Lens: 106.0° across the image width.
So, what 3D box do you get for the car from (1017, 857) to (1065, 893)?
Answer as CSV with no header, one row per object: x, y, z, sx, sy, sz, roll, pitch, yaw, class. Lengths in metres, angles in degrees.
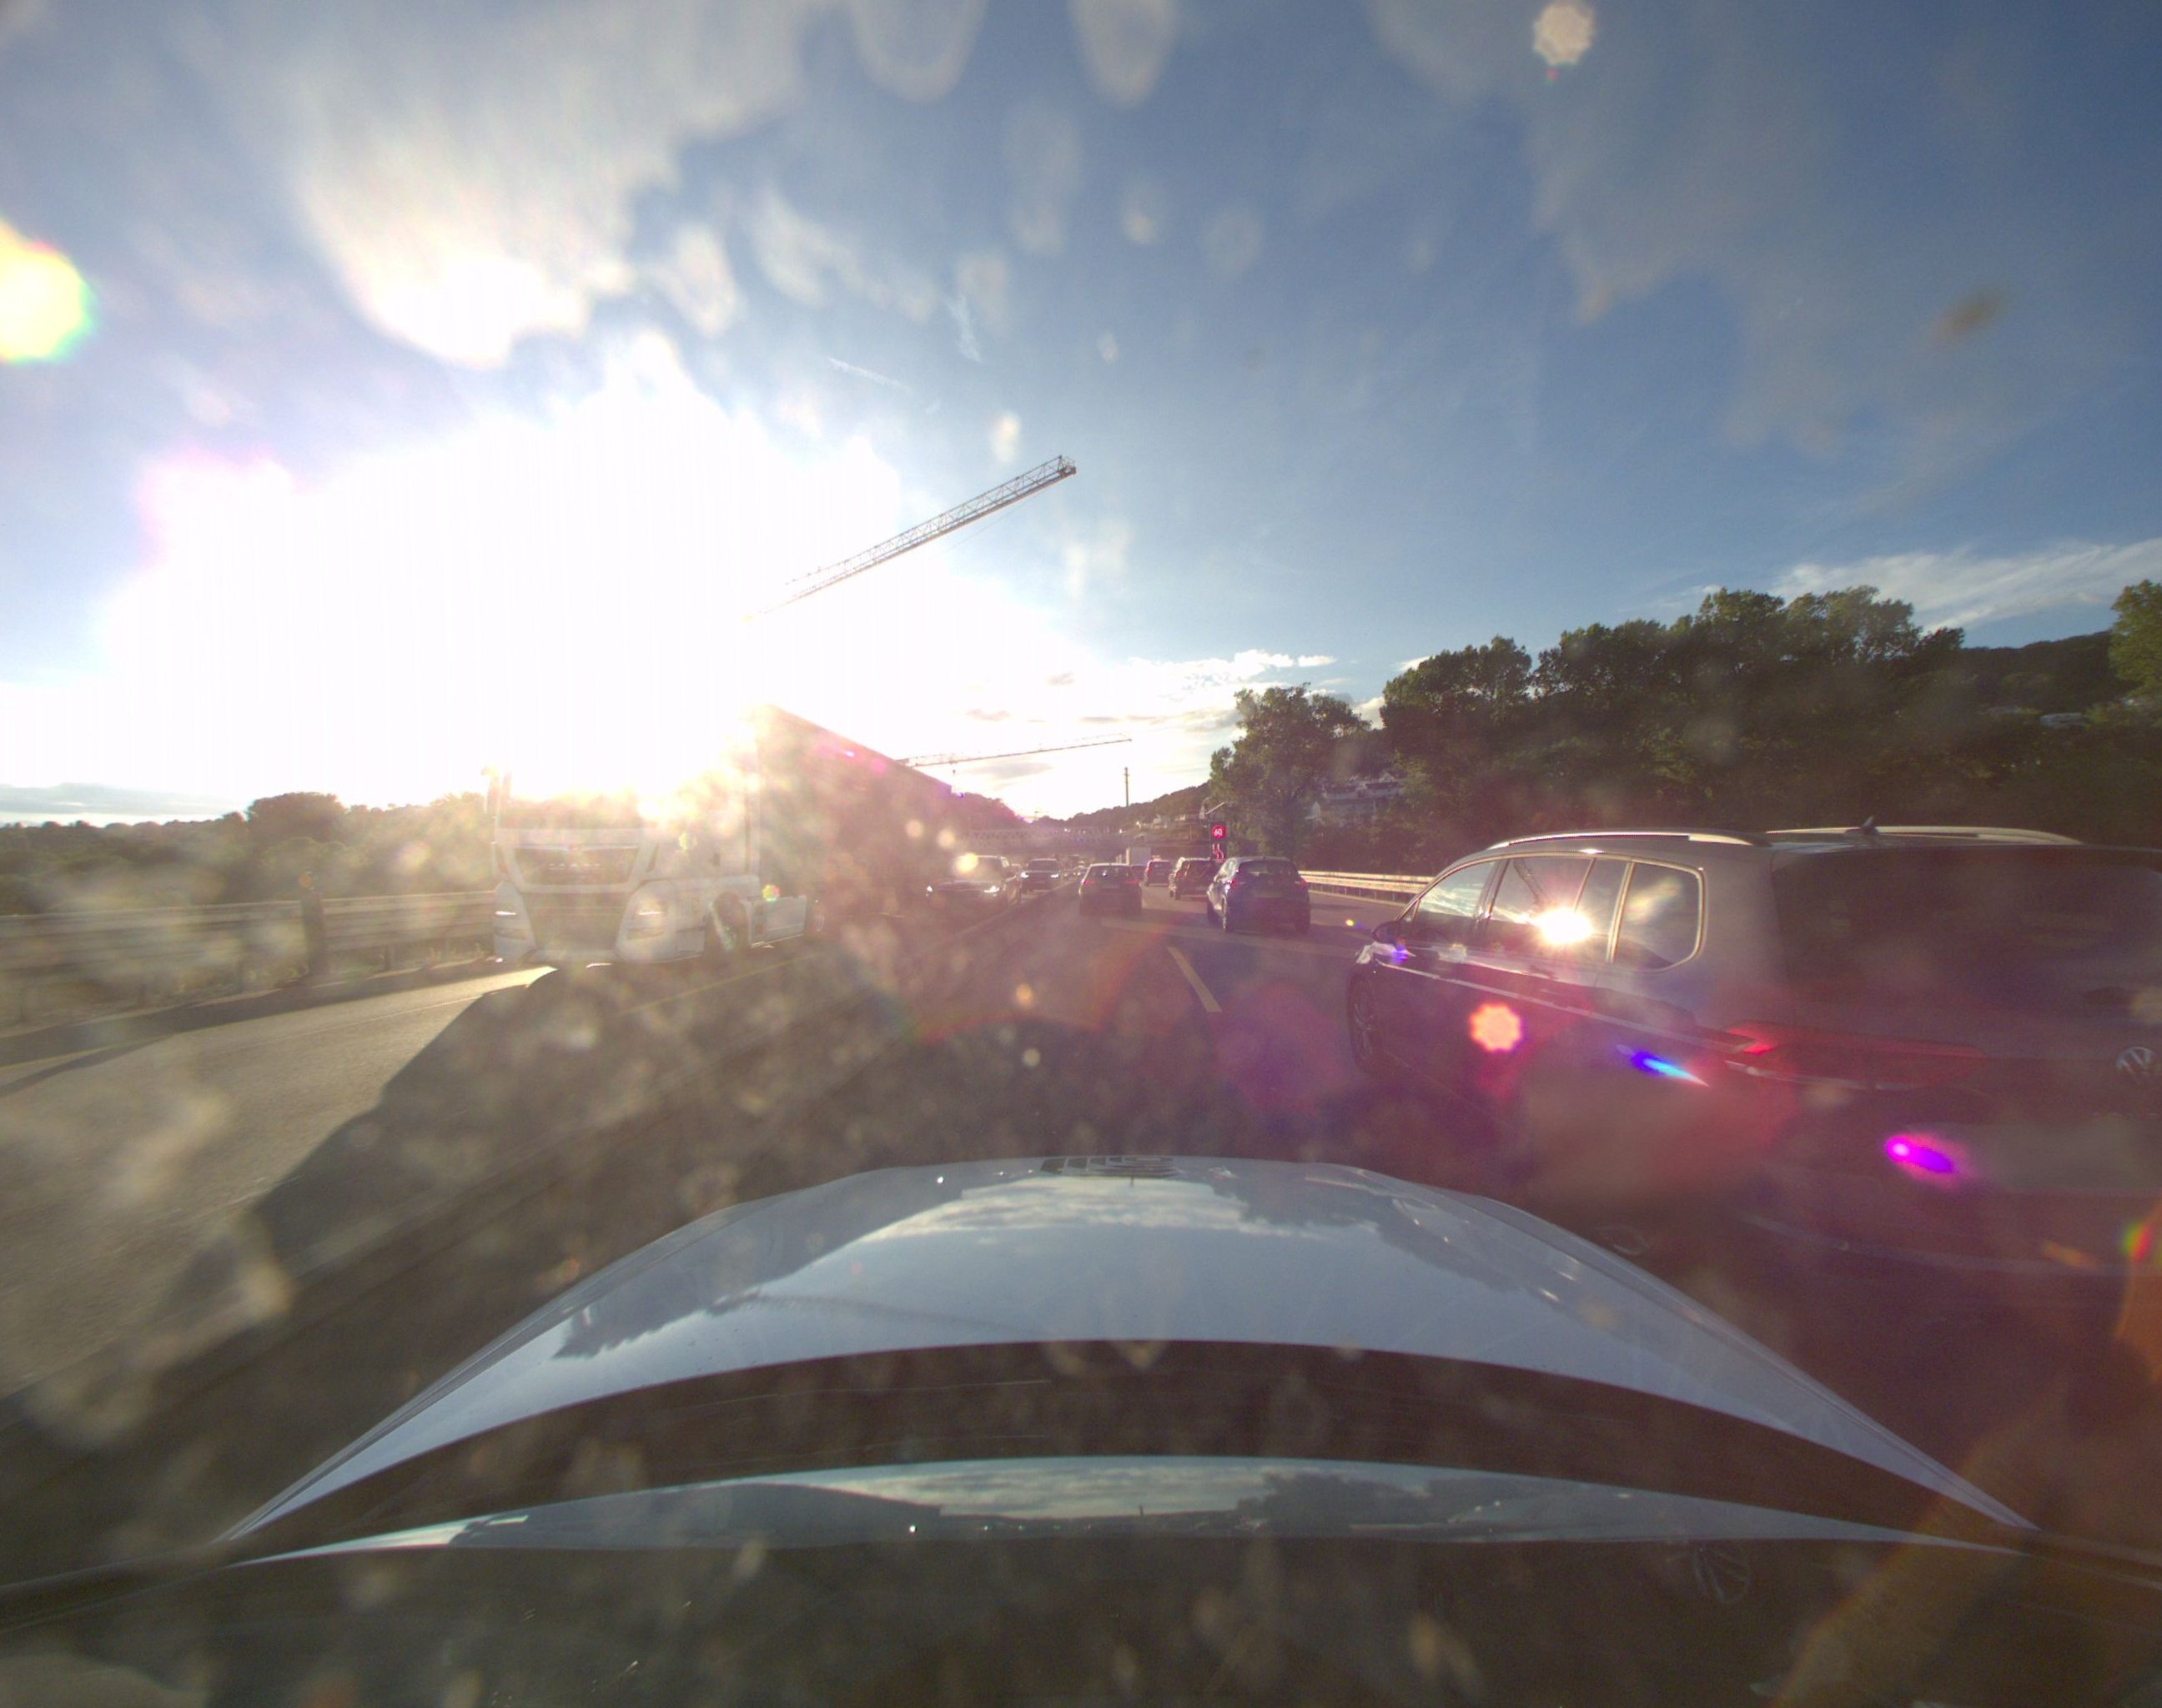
-1.891,1.012,39.926,1.986,1.645,4.514,0,-1,2,car

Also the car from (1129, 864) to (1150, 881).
5.589,1.785,77.819,1.764,1.553,3.999,0,-1,0,car

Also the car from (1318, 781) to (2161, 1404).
2.824,0.670,4.412,1.806,1.615,4.526,1,-1,1,car

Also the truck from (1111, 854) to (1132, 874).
9.168,2.232,185.063,3.879,4.498,13.842,0,0,-1,truck

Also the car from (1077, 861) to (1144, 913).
0.788,0.916,23.679,1.764,1.390,3.999,0,-1,0,car

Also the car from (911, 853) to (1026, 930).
-2.606,0.840,20.046,1.986,1.619,4.607,-1,-1,2,car

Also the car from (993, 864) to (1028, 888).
-4.396,1.350,51.251,1.694,1.446,4.001,-1,-1,2,car

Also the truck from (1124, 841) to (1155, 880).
7.304,0.675,102.980,3.372,4.498,15.276,0,1,2,truck

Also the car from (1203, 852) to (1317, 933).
3.841,0.770,18.097,1.767,1.586,4.137,0,-1,2,car

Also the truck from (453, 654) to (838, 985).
-6.280,-0.399,12.960,2.803,4.048,5.676,-1,-1,3,truck

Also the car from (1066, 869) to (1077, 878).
-1.772,3.540,148.294,1.704,1.552,4.001,-2,-1,2,car

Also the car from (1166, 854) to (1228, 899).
4.402,0.859,31.631,1.868,1.599,4.968,-1,-1,2,car

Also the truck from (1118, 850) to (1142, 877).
8.579,1.659,143.996,3.876,4.498,15.272,0,0,2,truck

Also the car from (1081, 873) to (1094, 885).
0.904,3.373,111.215,1.798,1.512,4.001,-1,-1,1,car

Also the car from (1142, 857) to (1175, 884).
4.926,1.077,52.141,1.808,1.632,4.411,0,-1,1,car

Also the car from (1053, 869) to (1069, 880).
-2.574,2.685,107.064,1.767,1.382,4.533,-2,-2,2,car

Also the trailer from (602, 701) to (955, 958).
-5.930,-0.315,20.024,2.803,4.051,14.029,-1,-1,3,trailer
